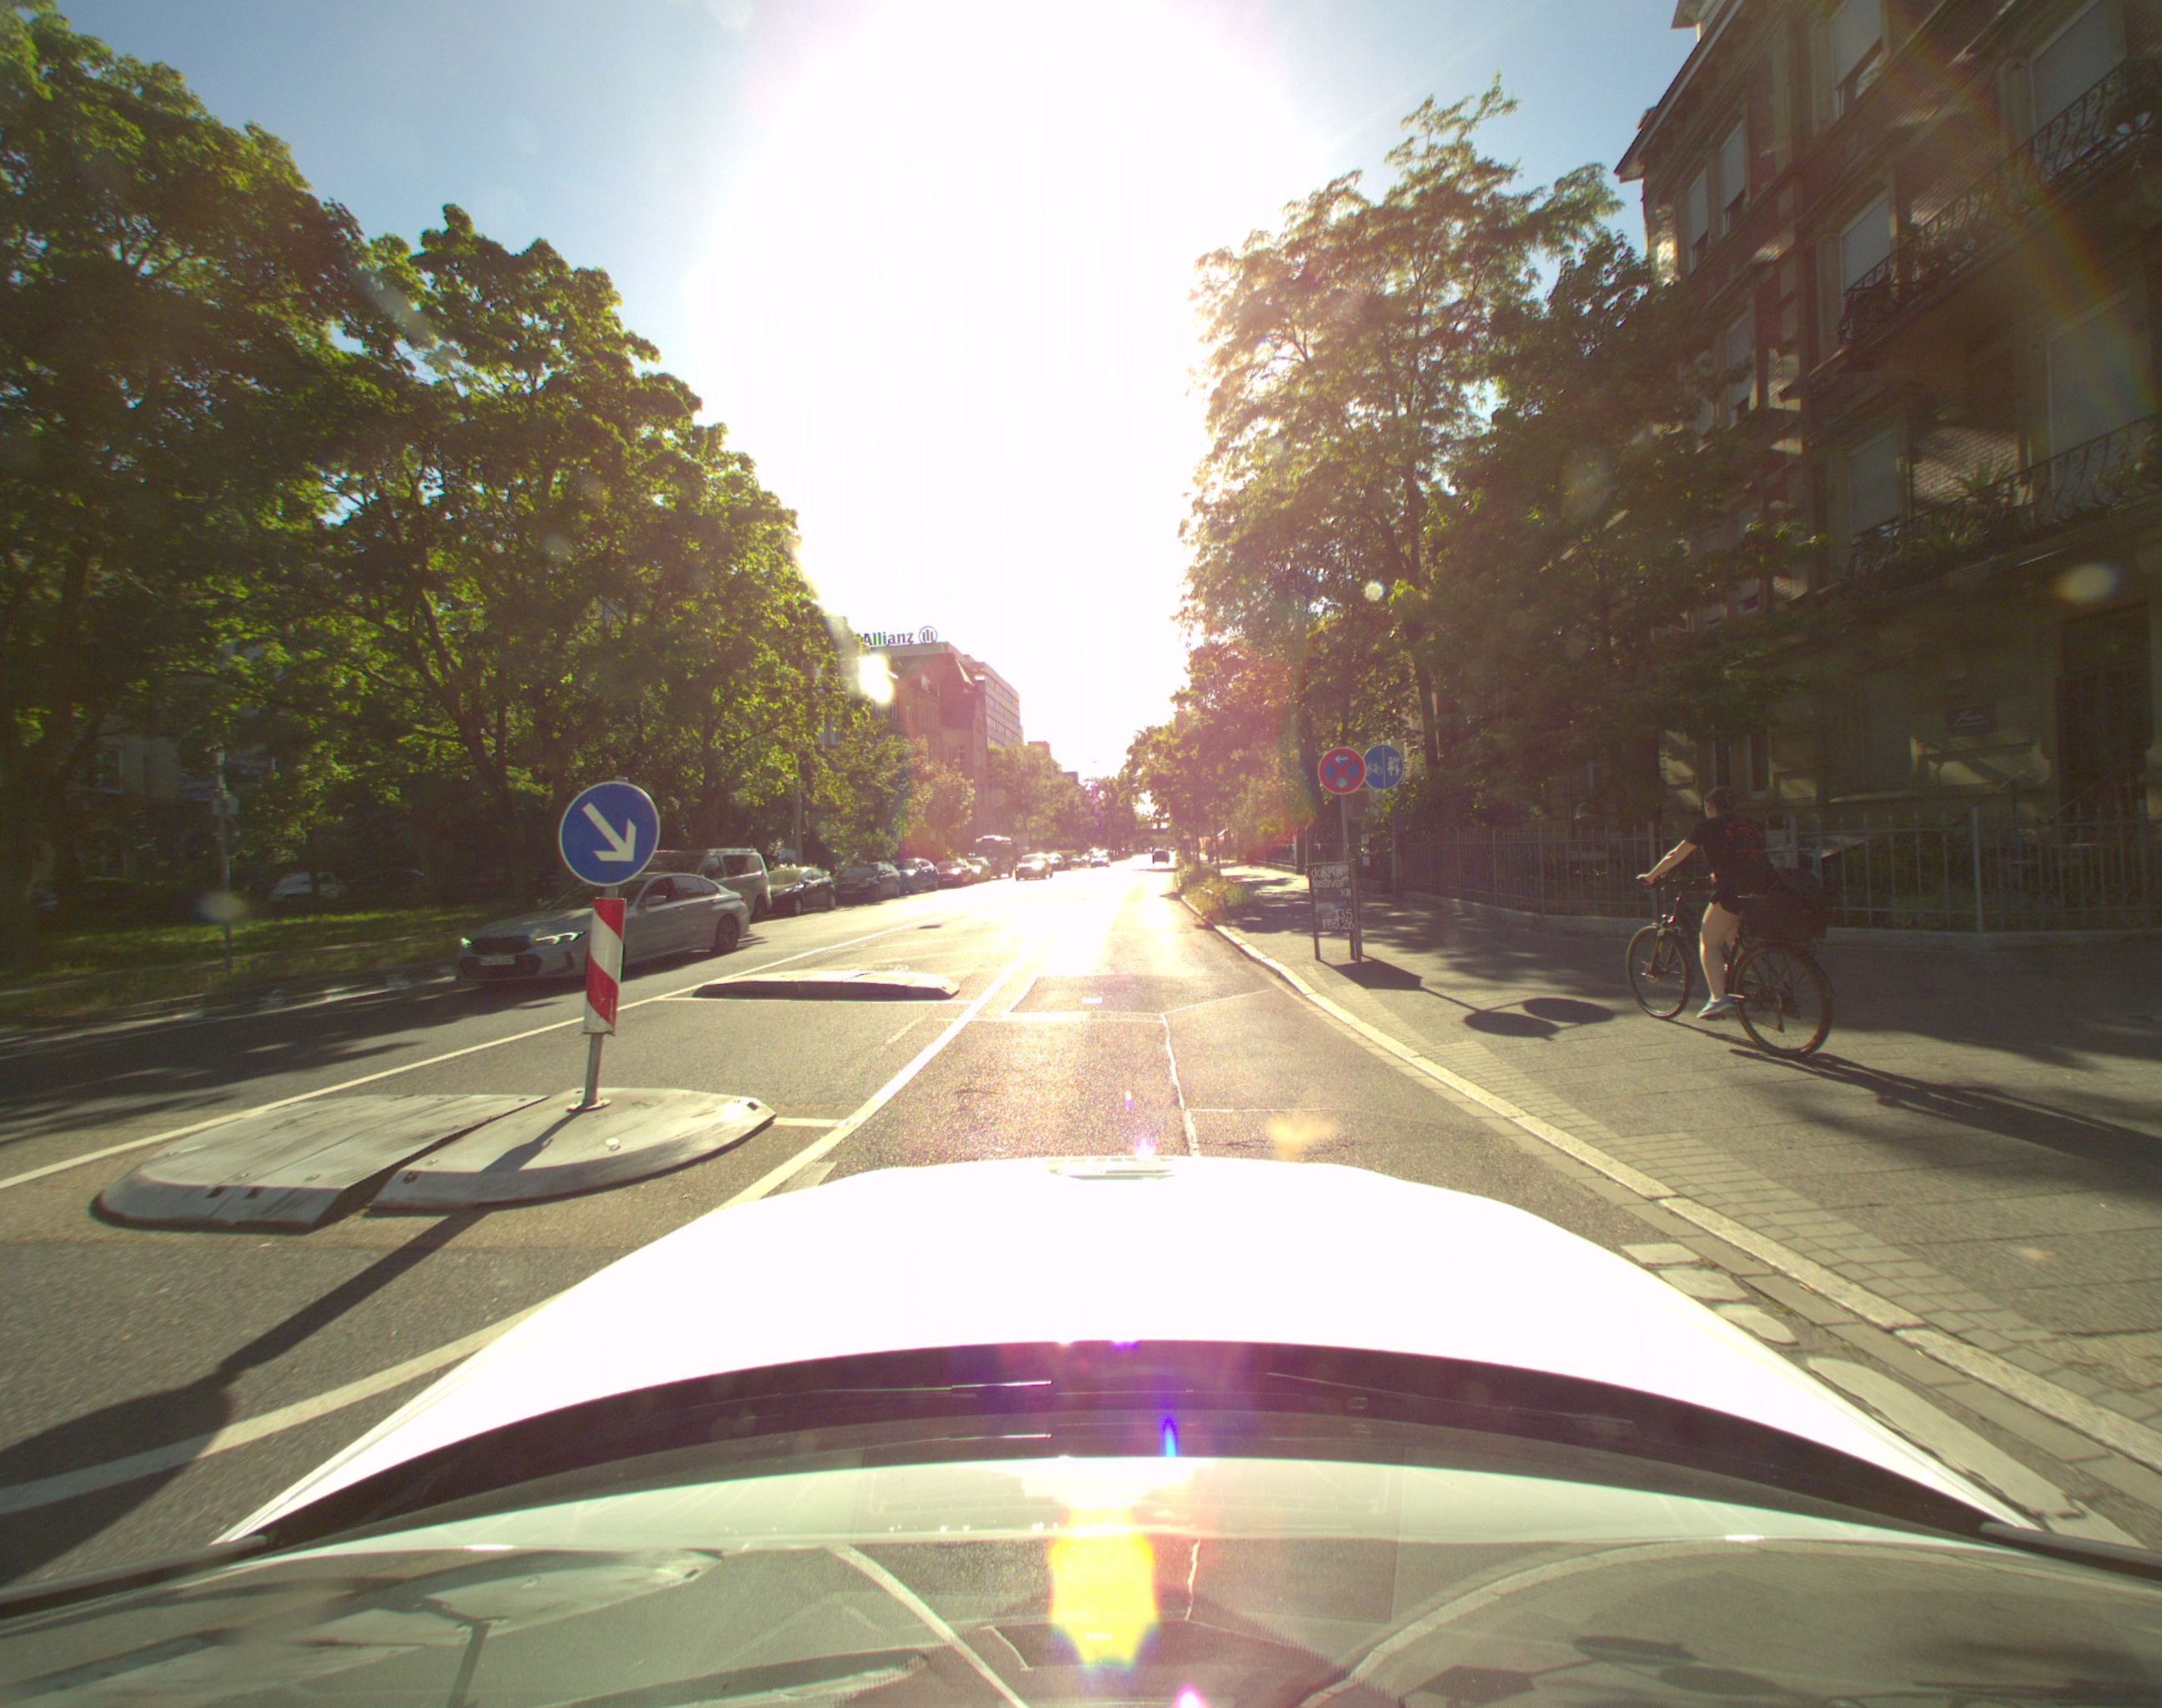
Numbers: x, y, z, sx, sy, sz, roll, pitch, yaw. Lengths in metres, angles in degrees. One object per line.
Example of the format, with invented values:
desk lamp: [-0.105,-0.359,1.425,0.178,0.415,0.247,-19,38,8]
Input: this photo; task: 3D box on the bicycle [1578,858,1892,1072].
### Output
bicycle: [4.383,0.653,5.682,0.650,1.176,1.844,-6,0,2]

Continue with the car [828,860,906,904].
car: [-8.152,1.042,31.405,1.583,1.482,4.276,-4,-1,3]

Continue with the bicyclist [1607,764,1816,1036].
bicyclist: [4.352,0.293,5.693,0.643,1.695,0.889,-5,0,1]

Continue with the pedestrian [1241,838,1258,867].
pedestrian: [9.746,-0.082,47.147,0.691,1.658,0.821,-5,-1,5]

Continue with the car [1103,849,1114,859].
car: [5.542,0.012,163.214,1.846,1.850,4.569,-1,0,5]

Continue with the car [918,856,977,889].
car: [-6.767,0.901,41.756,1.771,1.413,4.413,-4,0,6]

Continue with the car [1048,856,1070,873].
car: [-2.159,1.004,79.477,1.849,1.494,4.708,1,0,2]

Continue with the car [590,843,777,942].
car: [-9.716,0.837,20.473,1.975,2.036,4.879,-4,0,3]

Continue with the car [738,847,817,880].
car: [-19.092,0.574,51.421,1.841,1.914,4.479,-4,-2,31]

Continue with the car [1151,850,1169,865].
car: [8.693,0.390,89.818,1.975,1.600,4.146,-2,0,5]

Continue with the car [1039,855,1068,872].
car: [-2.469,0.828,73.958,1.846,1.427,4.730,2,1,7]

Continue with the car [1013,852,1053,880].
car: [-2.779,0.676,47.693,1.584,1.450,4.141,-3,0,6]

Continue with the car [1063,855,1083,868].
car: [-0.821,0.762,87.383,1.669,1.255,4.023,-1,0,7]

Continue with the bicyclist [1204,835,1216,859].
bicyclist: [9.280,-0.505,58.745,0.618,1.690,0.821,-5,0,2]

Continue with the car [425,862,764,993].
car: [-6.981,0.943,12.467,1.794,1.494,4.725,-2,0,9]

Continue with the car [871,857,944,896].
car: [-7.769,0.984,36.960,1.771,1.538,4.568,-2,0,7]

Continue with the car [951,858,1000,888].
car: [-6.112,1.072,47.539,1.685,1.456,4.672,-4,0,6]

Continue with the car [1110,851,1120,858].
car: [7.575,0.030,180.739,1.846,1.523,4.325,-1,0,5]

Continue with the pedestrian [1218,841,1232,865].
pedestrian: [11.340,-0.063,63.968,0.741,1.787,0.815,-5,0,24]

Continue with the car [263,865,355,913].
car: [-26.942,1.229,28.540,1.602,1.428,4.135,-5,0,-34]

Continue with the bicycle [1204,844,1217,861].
bicycle: [9.308,-0.102,58.771,0.613,1.176,1.920,-6,0,3]

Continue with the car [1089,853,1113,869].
car: [2.024,0.635,81.115,1.908,1.419,4.233,-3,0,6]

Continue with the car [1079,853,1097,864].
car: [0.872,0.564,103.460,1.678,1.383,4.202,-1,0,9]

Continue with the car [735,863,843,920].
car: [-8.927,1.091,25.231,1.456,1.501,3.966,-4,-1,7]

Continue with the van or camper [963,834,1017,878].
van or camper: [-6.022,0.106,54.743,2.205,2.739,6.099,-2,0,6]
